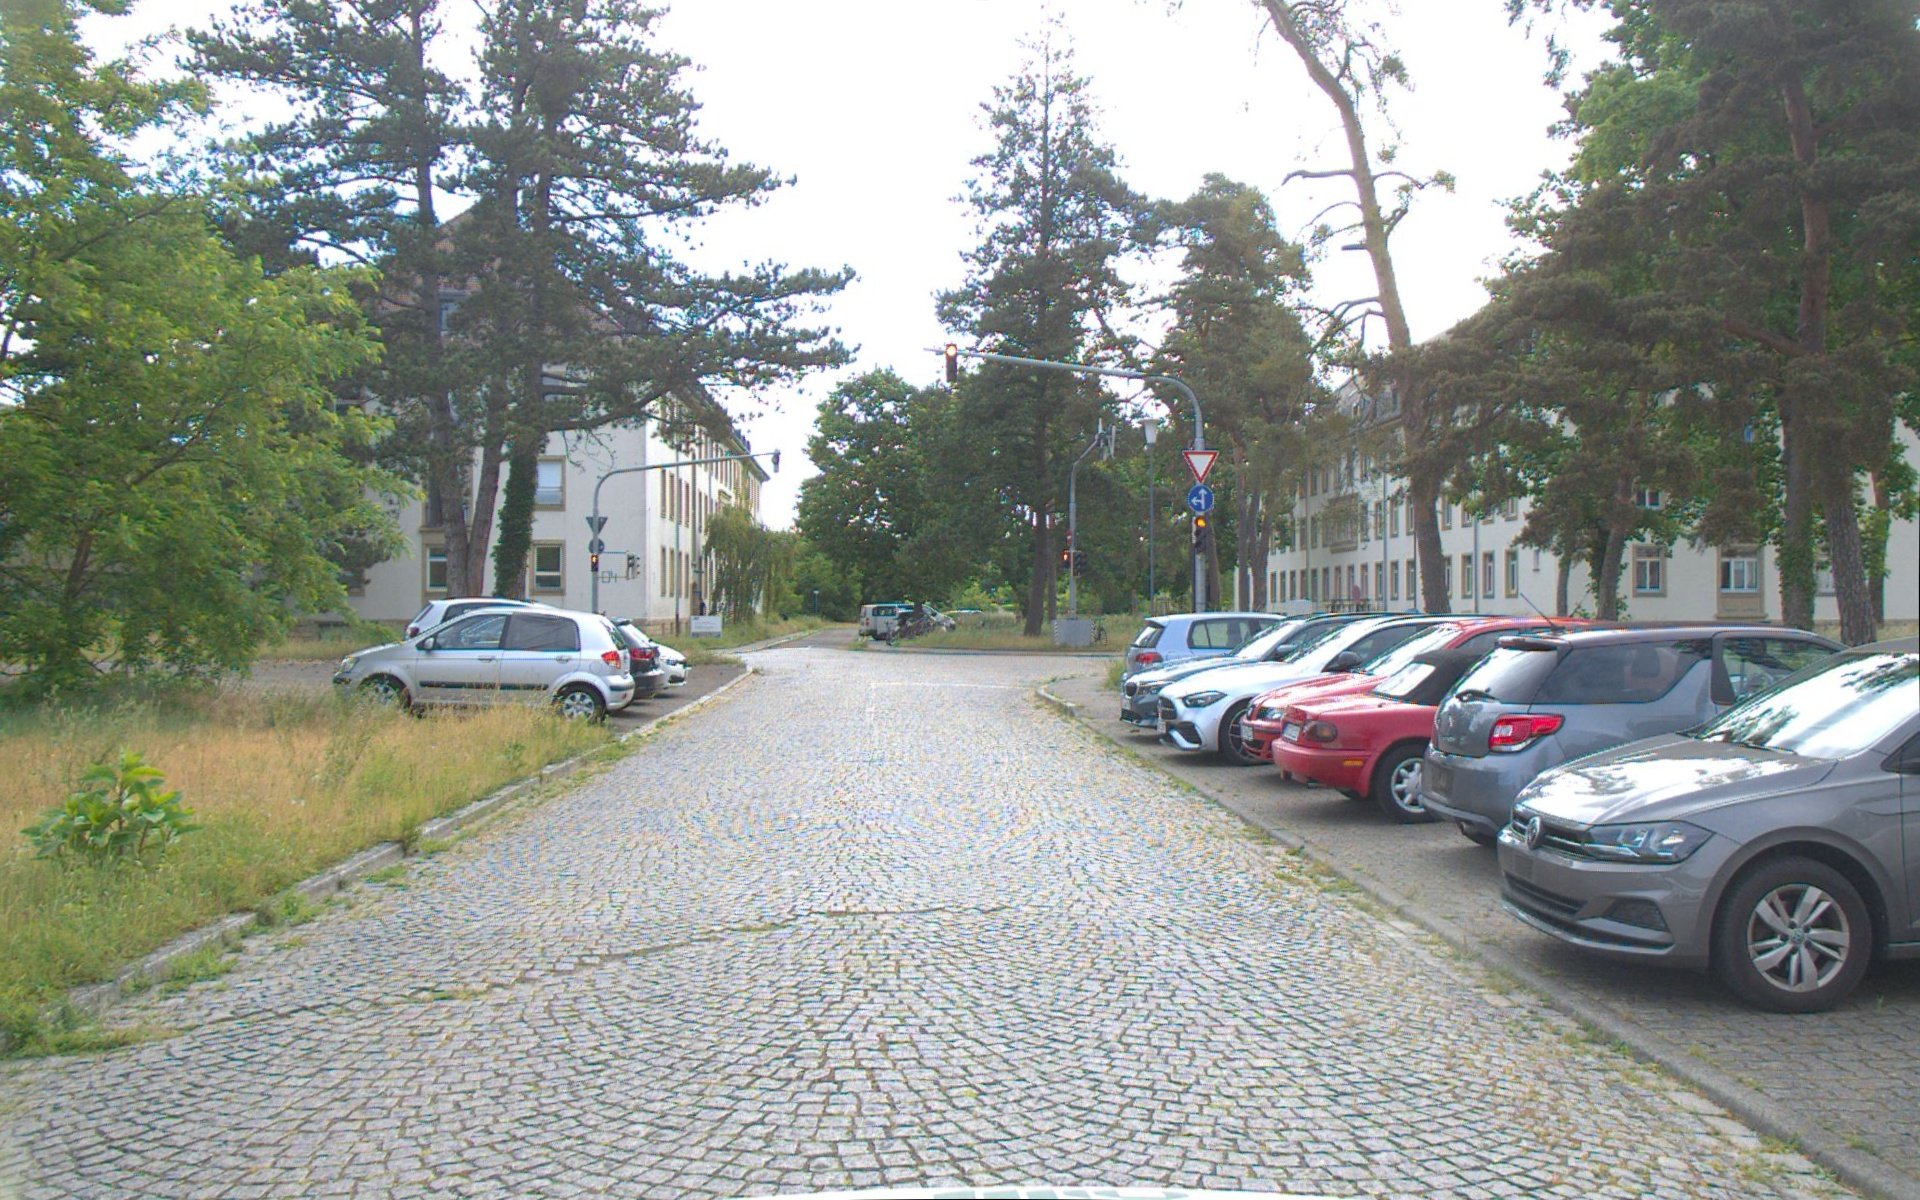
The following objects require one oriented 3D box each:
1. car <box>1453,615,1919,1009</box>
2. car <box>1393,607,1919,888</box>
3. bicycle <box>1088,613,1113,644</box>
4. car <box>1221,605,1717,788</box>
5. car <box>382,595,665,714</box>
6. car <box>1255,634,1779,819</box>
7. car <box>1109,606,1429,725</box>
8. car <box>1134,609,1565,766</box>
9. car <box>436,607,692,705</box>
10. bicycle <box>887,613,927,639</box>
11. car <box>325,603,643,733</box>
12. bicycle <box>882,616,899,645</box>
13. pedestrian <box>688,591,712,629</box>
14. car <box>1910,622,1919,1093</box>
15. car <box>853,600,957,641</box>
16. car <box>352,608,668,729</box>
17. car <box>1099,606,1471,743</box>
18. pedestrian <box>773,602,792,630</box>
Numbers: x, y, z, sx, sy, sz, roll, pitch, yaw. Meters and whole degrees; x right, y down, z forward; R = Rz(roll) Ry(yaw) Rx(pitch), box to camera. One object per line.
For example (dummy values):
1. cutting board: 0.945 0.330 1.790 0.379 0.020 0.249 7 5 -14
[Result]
1. car: 4.509 0.815 7.404 4.048 1.472 1.765 -1 0 -3
2. car: 4.665 0.835 10.282 3.436 1.513 1.742 -1 0 -4
3. bicycle: 5.070 1.005 59.848 0.649 1.069 1.887 1 0 -2
4. car: 4.595 0.831 15.251 4.025 1.502 1.683 -1 0 -5
5. car: -6.975 0.848 26.776 4.218 1.763 1.649 -1 0 -8
6. car: 4.219 0.934 12.885 3.514 1.244 1.628 -1 0 -2
7. car: 4.232 0.869 22.920 4.058 1.489 1.630 -1 0 -8
8. car: 4.077 0.872 17.586 4.109 1.462 1.751 -1 0 -10
9. car: -6.909 0.956 29.235 4.218 1.581 1.808 -1 0 -9
10. bicycle: -2.504 1.222 78.211 1.846 1.191 0.663 1 -1 -9
11. car: -6.061 0.853 21.420 3.649 1.507 1.671 2 -1 -6
12. bicycle: -2.945 1.277 70.047 0.649 1.191 1.886 1 -1 -2
13. pedestrian: -13.626 0.531 86.621 1.053 1.993 1.120 1 -1 -3
14. car: 4.883 0.788 4.517 3.580 1.504 1.764 -1 0 -3
15. car: -2.985 1.092 89.504 5.287 2.138 2.169 0 0 -15
16. car: -6.412 0.953 23.998 4.218 1.581 1.808 -1 0 -9
17. car: 3.960 0.863 20.350 4.157 1.505 1.703 -1 0 -14
18. pedestrian: -12.722 1.128 118.541 1.216 1.993 1.119 1 -1 -8
